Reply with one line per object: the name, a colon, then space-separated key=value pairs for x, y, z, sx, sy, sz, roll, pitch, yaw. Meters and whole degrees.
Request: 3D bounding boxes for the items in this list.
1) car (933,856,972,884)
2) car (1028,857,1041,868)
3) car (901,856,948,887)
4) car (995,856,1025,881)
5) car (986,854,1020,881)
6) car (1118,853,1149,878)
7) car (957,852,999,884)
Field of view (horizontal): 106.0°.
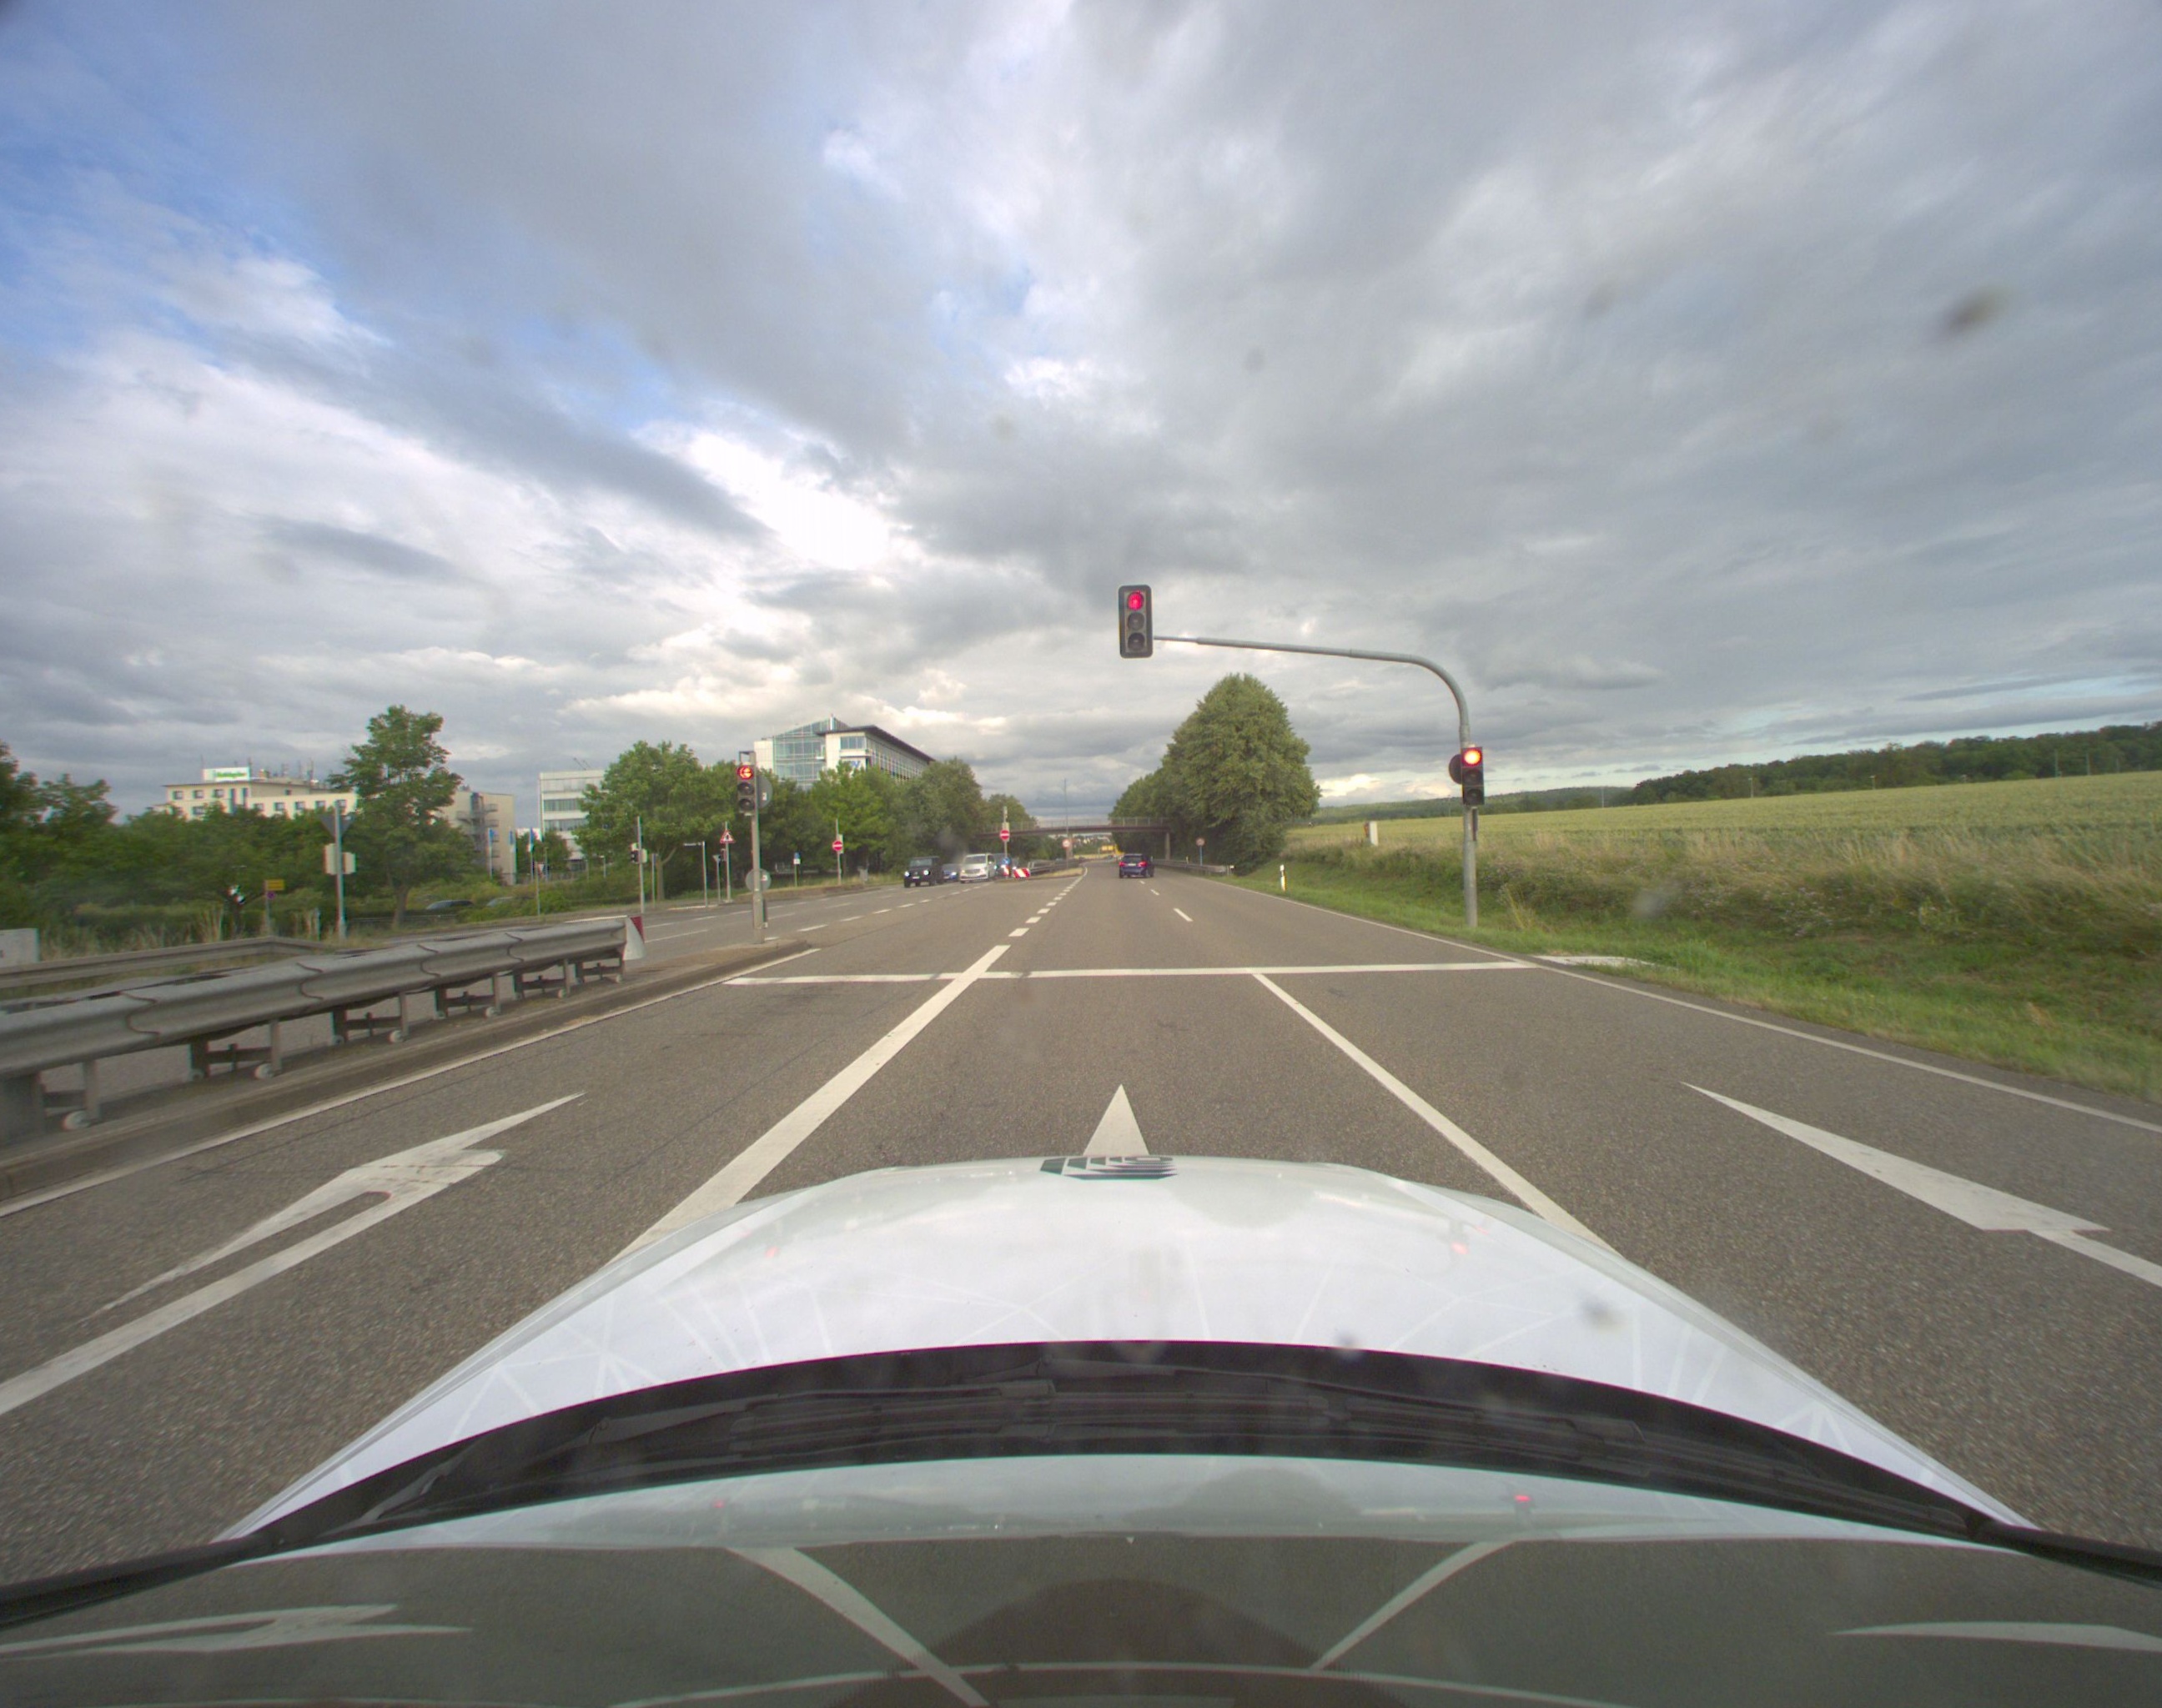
car: x=-9.824 y=1.211 z=62.643 sx=2.076 sy=2.014 sz=5.216 roll=0 pitch=0 yaw=1
car: x=-8.390 y=1.580 z=147.768 sx=2.076 sy=2.014 sz=5.216 roll=0 pitch=0 yaw=1
car: x=-10.523 y=1.160 z=55.154 sx=2.076 sy=2.014 sz=5.216 roll=0 pitch=0 yaw=1
car: x=-6.064 y=1.240 z=70.469 sx=2.076 sy=2.014 sz=5.216 roll=0 pitch=0 yaw=1
car: x=-5.984 y=1.015 z=62.898 sx=2.076 sy=2.014 sz=5.216 roll=0 pitch=0 yaw=1
car: x=3.437 y=0.714 z=52.780 sx=1.871 sy=1.552 sz=4.005 roll=0 pitch=0 yaw=5
car: x=-6.903 y=0.921 z=55.179 sx=2.076 sy=2.014 sz=5.216 roll=0 pitch=0 yaw=1
